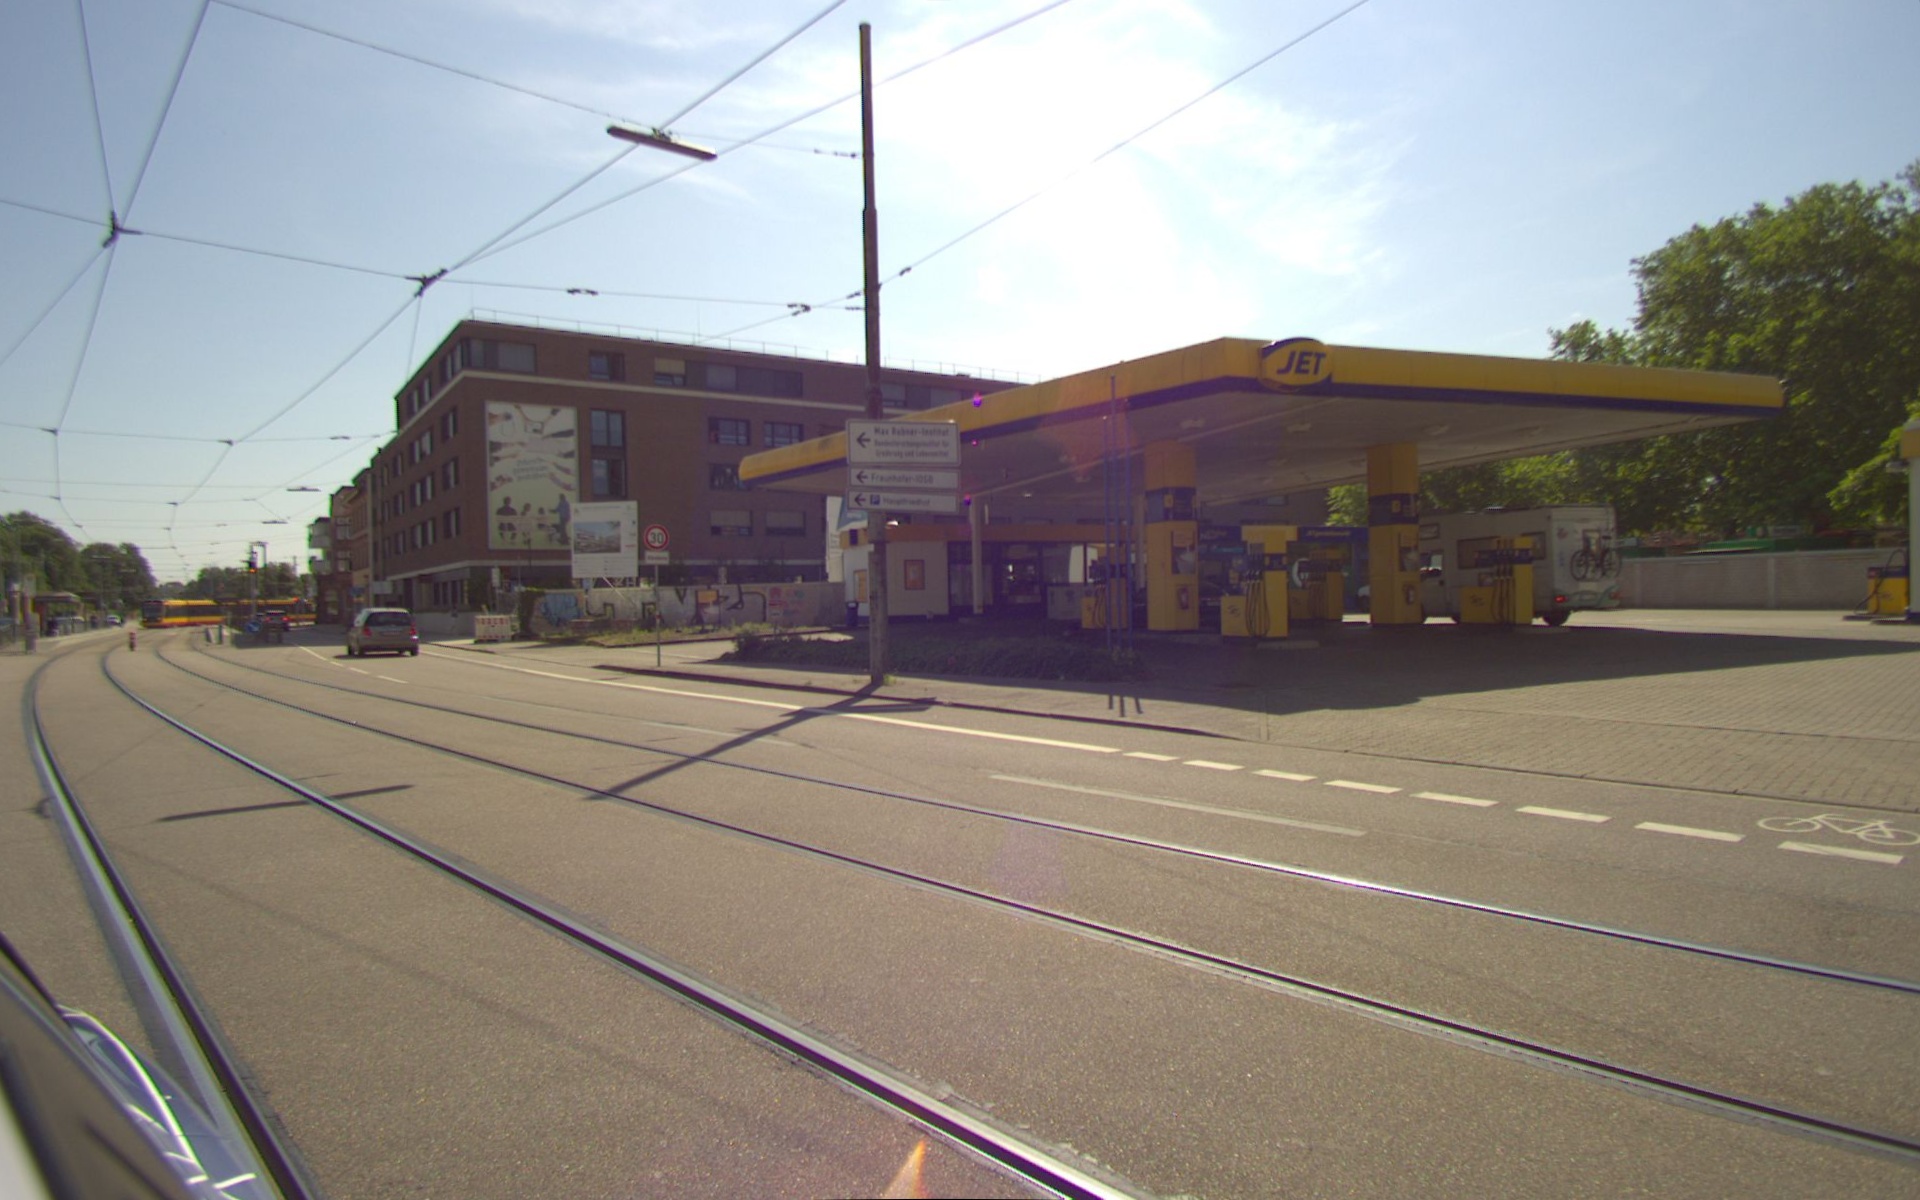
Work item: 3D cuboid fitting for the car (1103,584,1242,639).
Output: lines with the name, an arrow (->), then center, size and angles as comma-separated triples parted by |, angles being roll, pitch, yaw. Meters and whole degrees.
car -> 5.808, 0.281, 28.257 | 1.673, 1.313, 4.404 | -3, 1, -20

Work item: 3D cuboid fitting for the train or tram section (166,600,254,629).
train or tram section -> -99.462, 1.855, 134.641 | 2.648, 3.506, 13.351 | -1, 0, -4

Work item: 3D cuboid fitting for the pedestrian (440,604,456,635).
pedestrian -> -27.576, 1.054, 54.502 | 0.573, 1.677, 0.701 | -1, 0, -39

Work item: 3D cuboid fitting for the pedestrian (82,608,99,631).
pedestrian -> -72.130, 1.638, 83.967 | 0.968, 1.872, 1.240 | -1, 0, -37

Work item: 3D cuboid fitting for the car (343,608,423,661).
car -> -18.992, 1.079, 33.257 | 1.723, 1.583, 3.899 | 0, 0, -38

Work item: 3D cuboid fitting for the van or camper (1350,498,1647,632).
van or camper -> 13.909, -0.893, 26.840 | 2.572, 2.989, 6.736 | -4, 3, -22

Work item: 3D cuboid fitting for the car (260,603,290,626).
car -> -56.441, 1.213, 83.373 | 1.777, 1.741, 4.198 | -4, 1, -37

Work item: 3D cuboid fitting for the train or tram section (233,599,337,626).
train or tram section -> -97.632, 1.787, 146.786 | 2.672, 3.506, 13.234 | -1, 0, 23

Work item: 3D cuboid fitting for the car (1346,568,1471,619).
car -> 17.341, -0.309, 39.390 | 1.748, 1.775, 4.489 | -3, 3, -21

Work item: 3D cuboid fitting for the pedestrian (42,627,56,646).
pedestrian -> -59.452, 2.379, 66.021 | 0.621, 1.264, 0.711 | -1, -1, -38

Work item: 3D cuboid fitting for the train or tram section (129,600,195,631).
train or tram section -> -96.365, 1.818, 122.442 | 2.642, 3.506, 13.382 | -1, 0, -22

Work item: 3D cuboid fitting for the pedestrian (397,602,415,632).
pedestrian -> -34.662, 1.049, 63.335 | 0.833, 1.832, 0.840 | -2, 0, -37
